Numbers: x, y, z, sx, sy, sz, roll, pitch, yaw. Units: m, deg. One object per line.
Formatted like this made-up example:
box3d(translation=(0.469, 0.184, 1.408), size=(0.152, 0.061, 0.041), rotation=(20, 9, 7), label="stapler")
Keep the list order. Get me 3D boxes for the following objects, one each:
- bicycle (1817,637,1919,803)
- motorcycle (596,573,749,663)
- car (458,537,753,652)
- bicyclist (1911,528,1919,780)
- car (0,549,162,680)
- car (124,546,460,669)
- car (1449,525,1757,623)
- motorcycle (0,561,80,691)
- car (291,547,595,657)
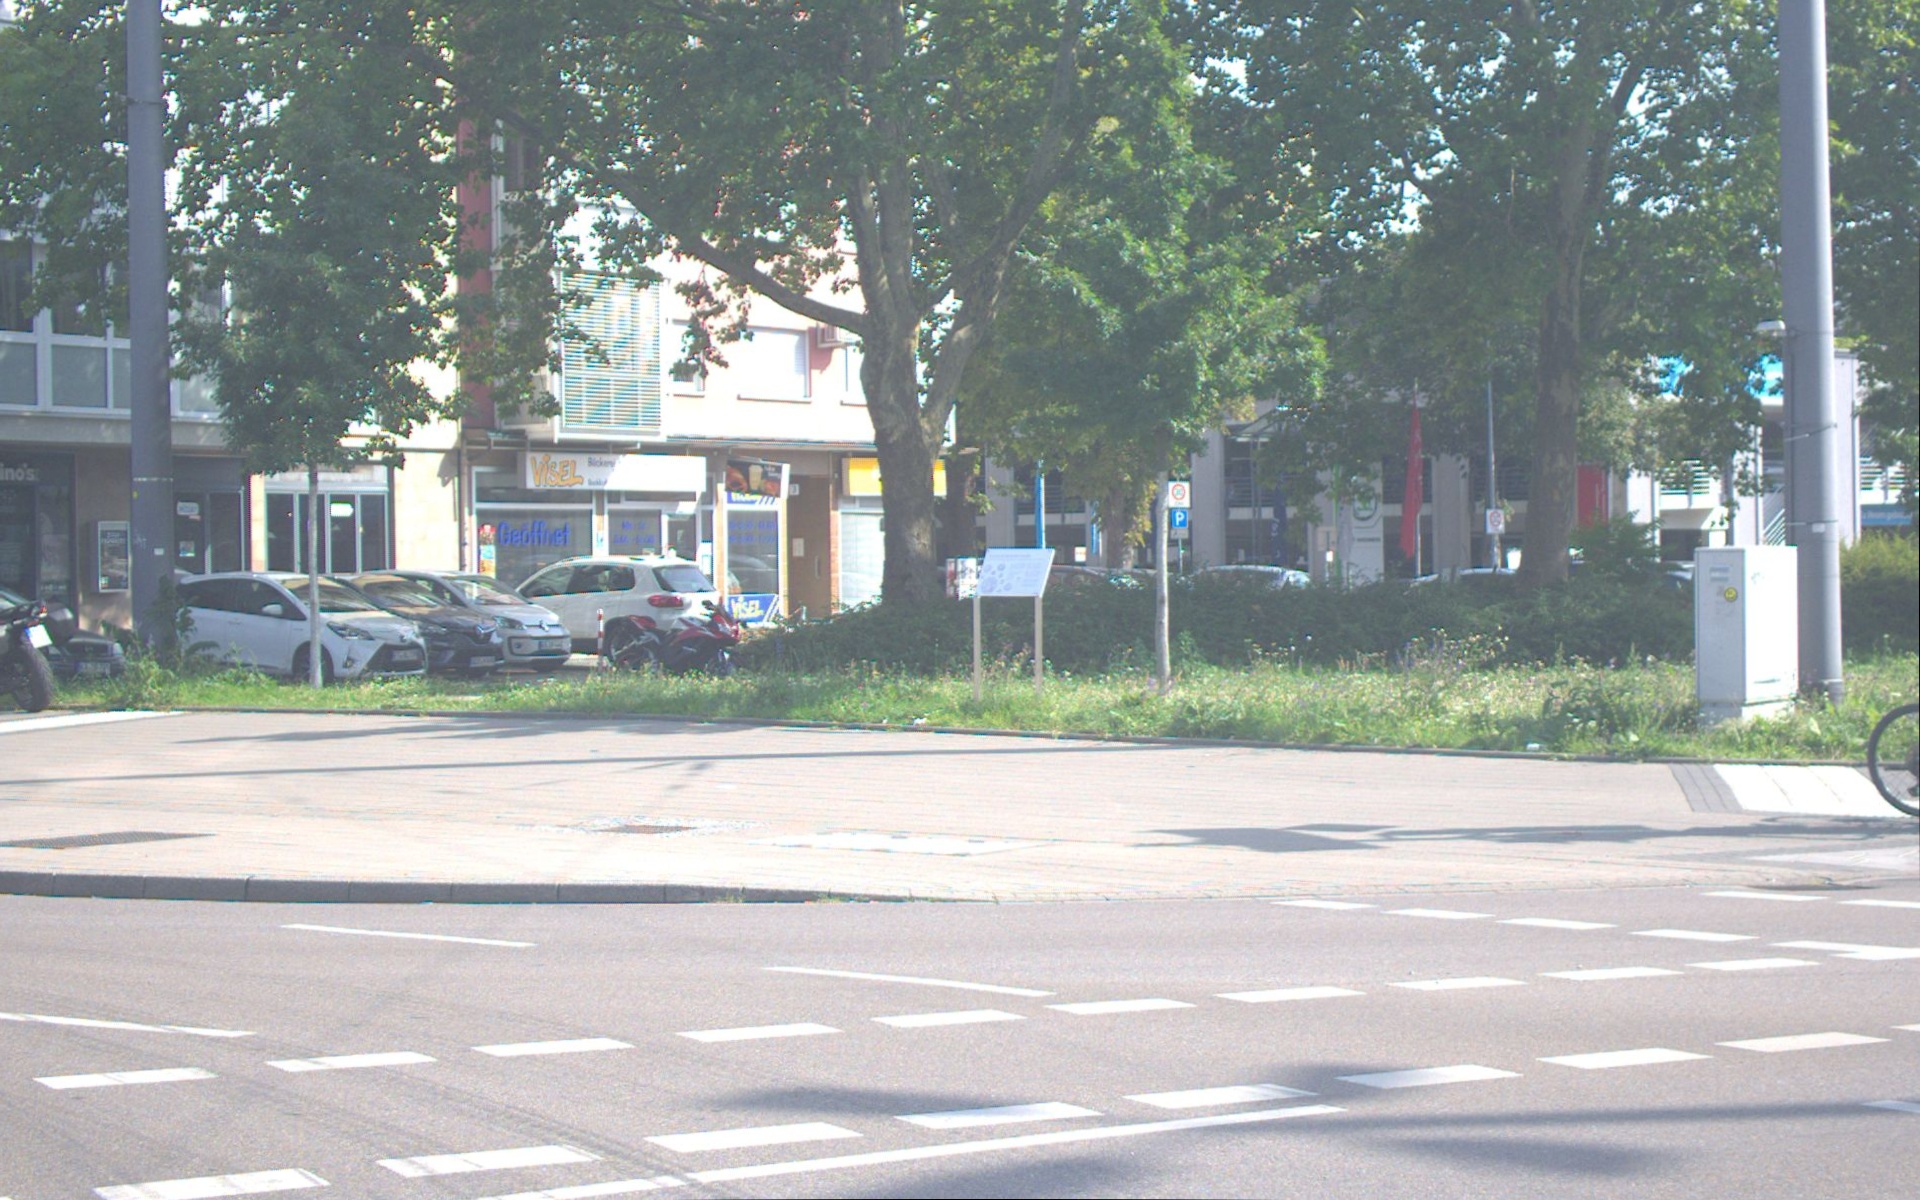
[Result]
box3d(translation=(5.871, 0.717, 19.384), size=(0.566, 0.890, 2.075), rotation=(-1, 3, -39), label="bicycle")
box3d(translation=(-3.324, 0.199, 39.647), size=(0.703, 0.998, 1.956), rotation=(-2, 1, -42), label="motorcycle")
box3d(translation=(-5.287, -0.094, 51.177), size=(3.994, 1.639, 1.996), rotation=(0, 1, 33), label="car")
box3d(translation=(5.920, 0.309, 19.330), size=(0.729, 1.422, 0.820), rotation=(-1, 2, -39), label="bicyclist")
box3d(translation=(-11.422, 0.156, 40.085), size=(4.188, 1.436, 1.659), rotation=(0, 1, 33), label="car")
box3d(translation=(-8.671, 0.084, 44.591), size=(3.994, 1.502, 1.996), rotation=(0, 1, 33), label="car")
box3d(translation=(9.455, -0.381, 50.605), size=(3.994, 1.371, 1.997), rotation=(0, 1, 31), label="car")
box3d(translation=(-9.006, 0.226, 31.736), size=(0.703, 1.143, 2.300), rotation=(-2, 1, -42), label="motorcycle")
box3d(translation=(-7.472, 0.015, 49.613), size=(3.994, 1.502, 1.996), rotation=(0, 1, 33), label="car")
